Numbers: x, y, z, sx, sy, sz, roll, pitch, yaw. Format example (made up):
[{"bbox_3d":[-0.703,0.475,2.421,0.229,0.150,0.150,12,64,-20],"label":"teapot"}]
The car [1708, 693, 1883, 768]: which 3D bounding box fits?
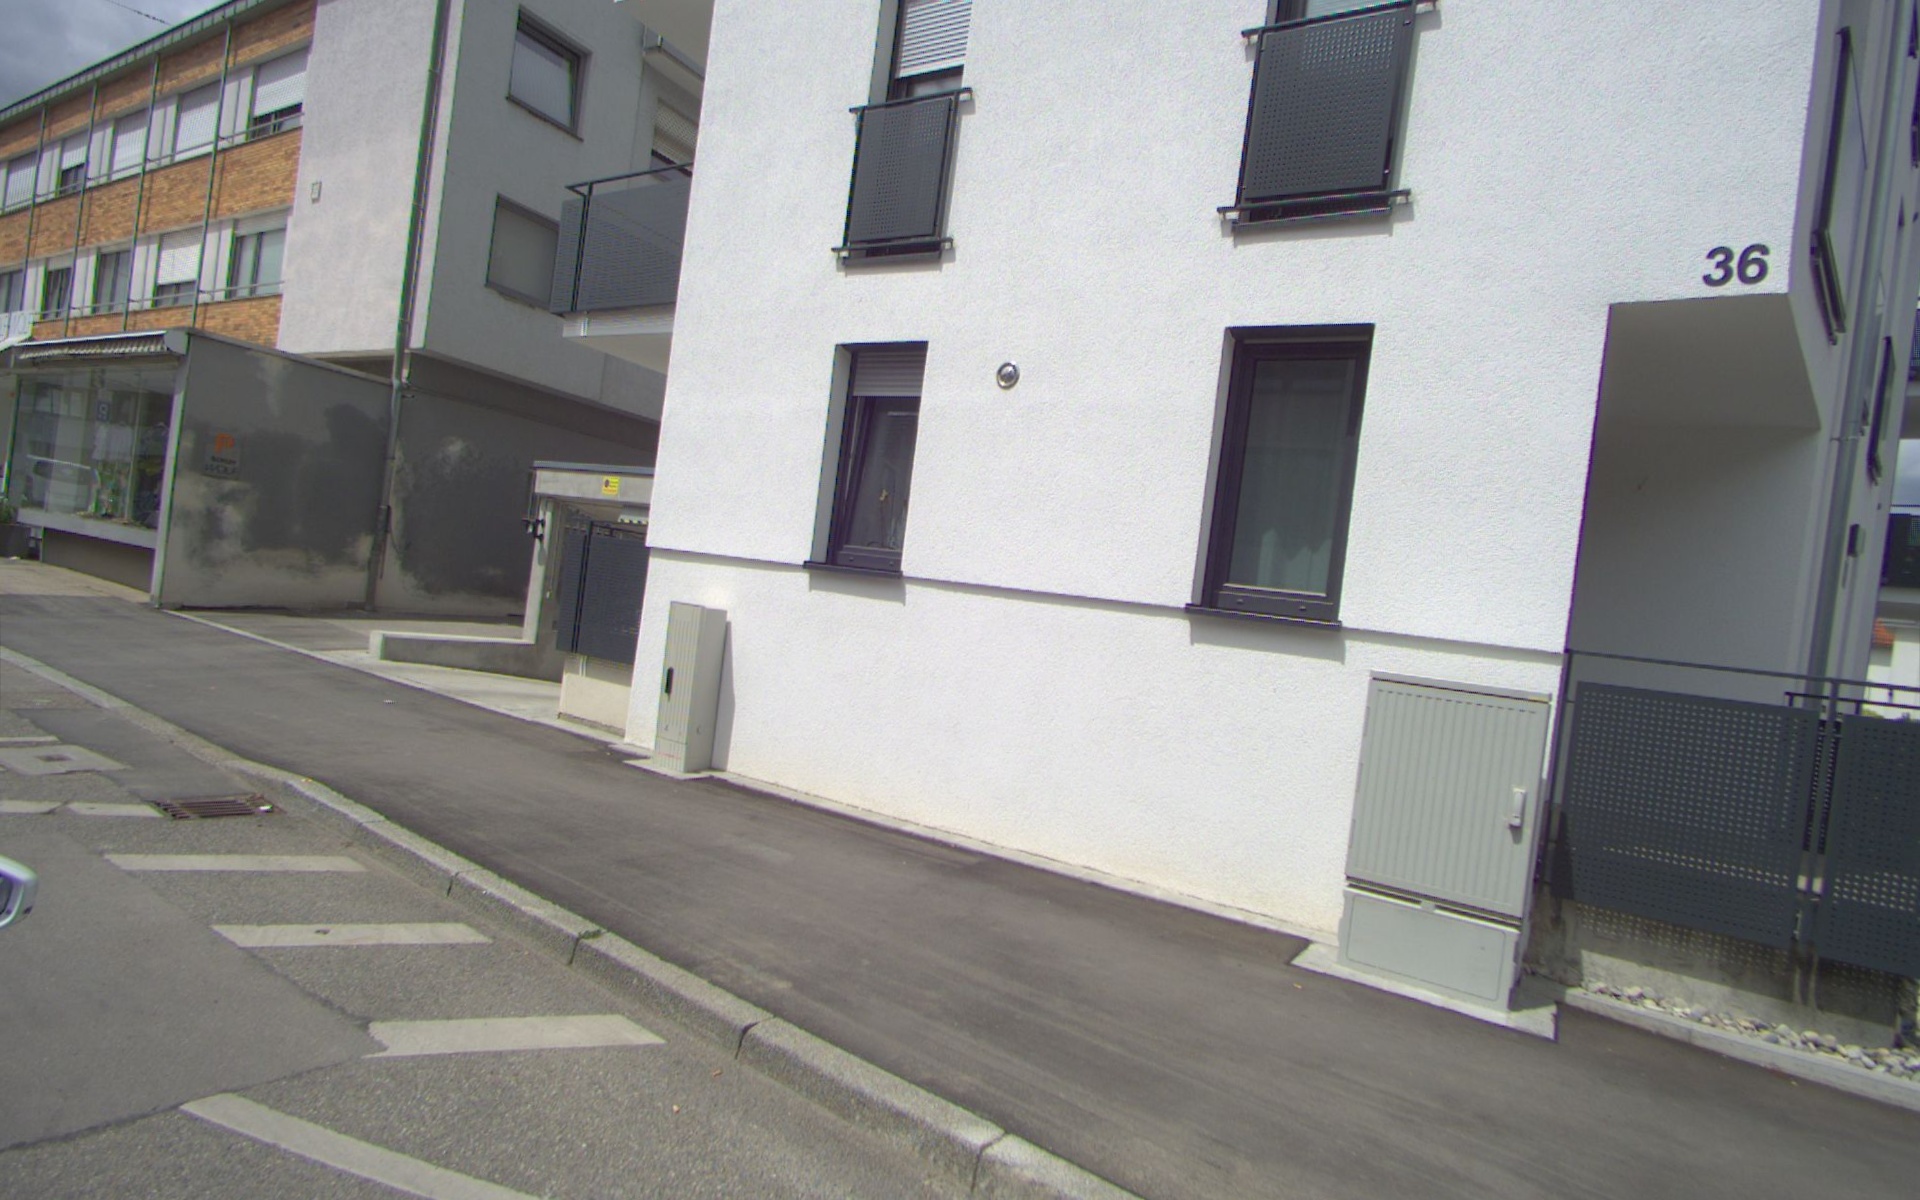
[{"bbox_3d":[25.319,3.910,30.608,3.880,1.523,1.690,8,1,42],"label":"car"}]
